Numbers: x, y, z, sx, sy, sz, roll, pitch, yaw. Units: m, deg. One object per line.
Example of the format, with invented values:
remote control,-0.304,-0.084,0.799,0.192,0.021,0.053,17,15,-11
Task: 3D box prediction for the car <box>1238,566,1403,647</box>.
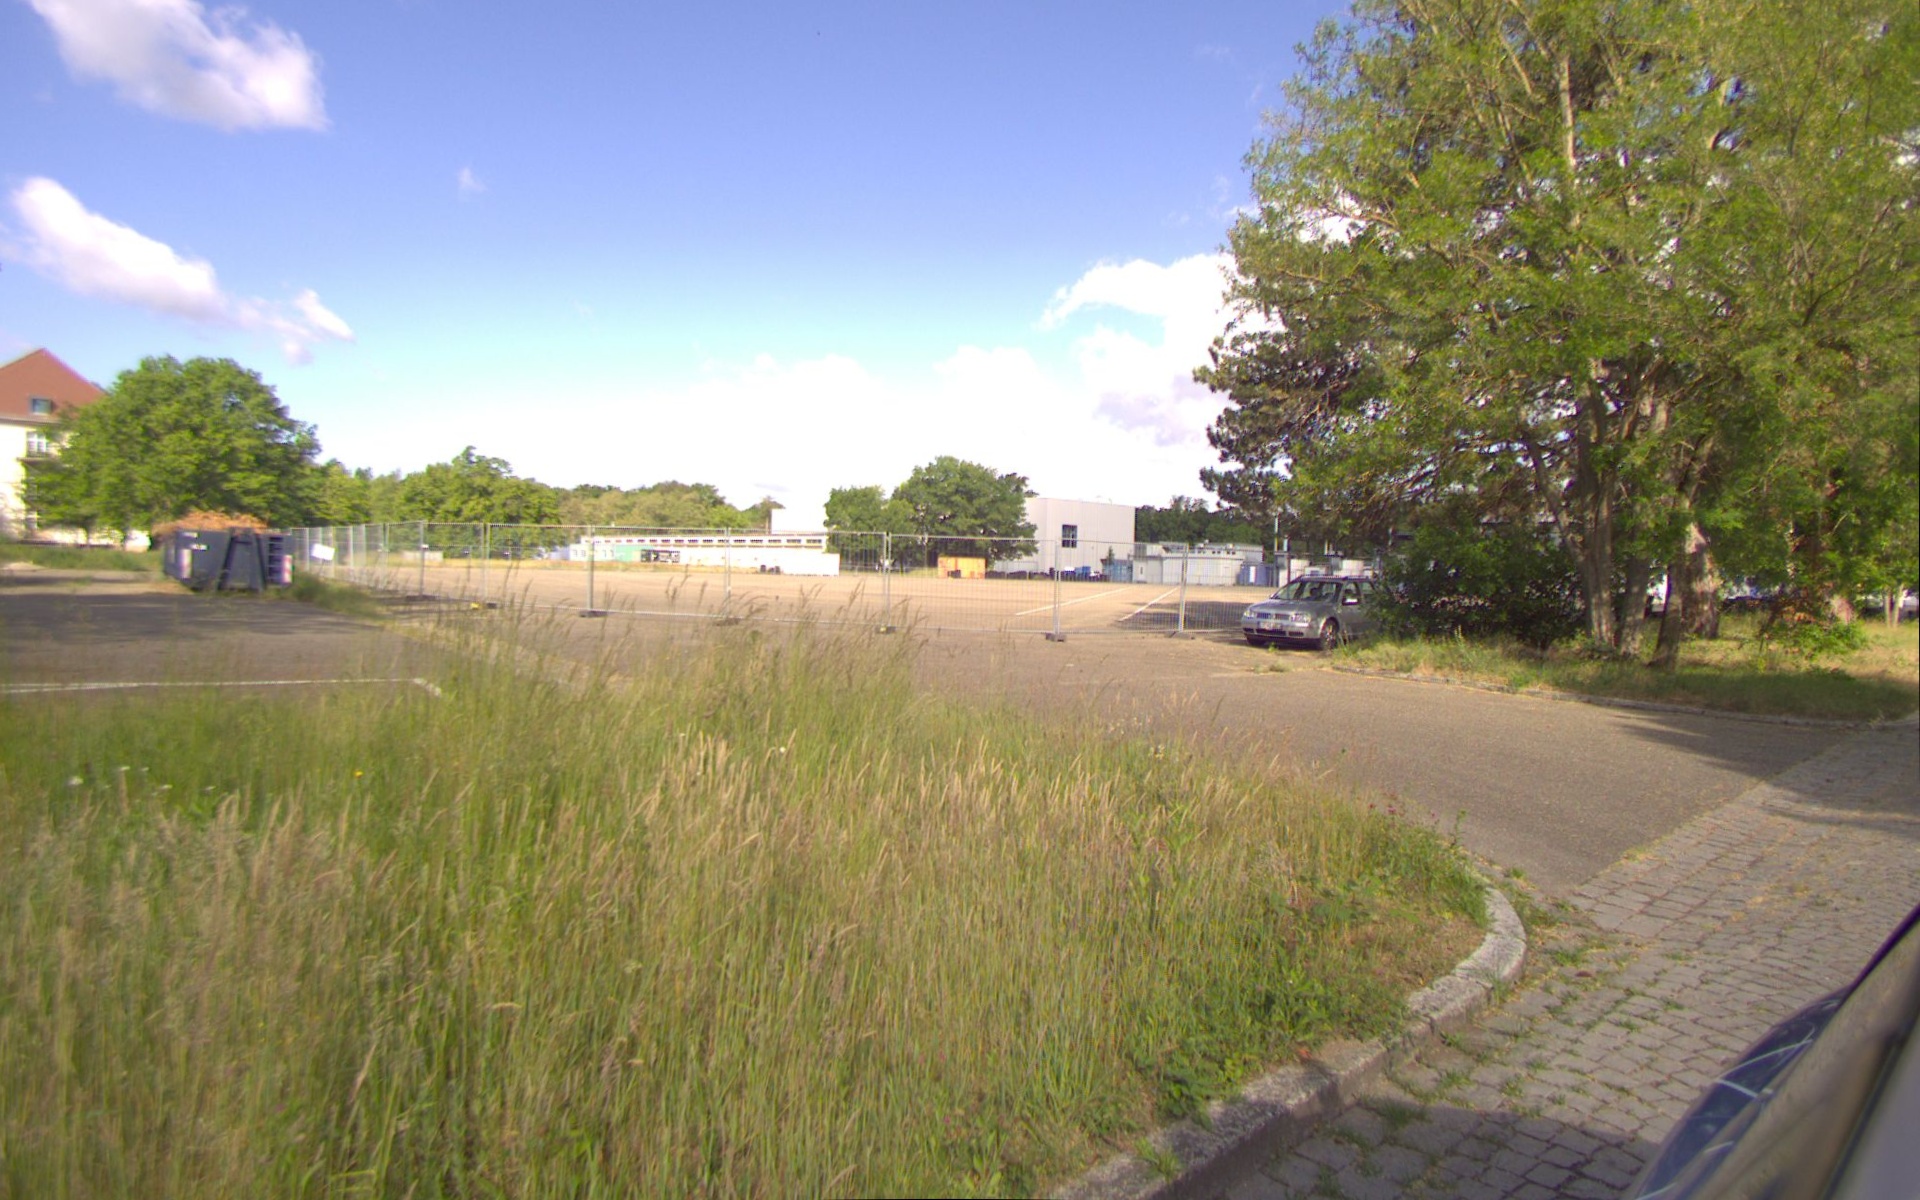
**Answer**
car,7.424,0.096,20.682,3.921,1.461,1.576,0,3,-44
